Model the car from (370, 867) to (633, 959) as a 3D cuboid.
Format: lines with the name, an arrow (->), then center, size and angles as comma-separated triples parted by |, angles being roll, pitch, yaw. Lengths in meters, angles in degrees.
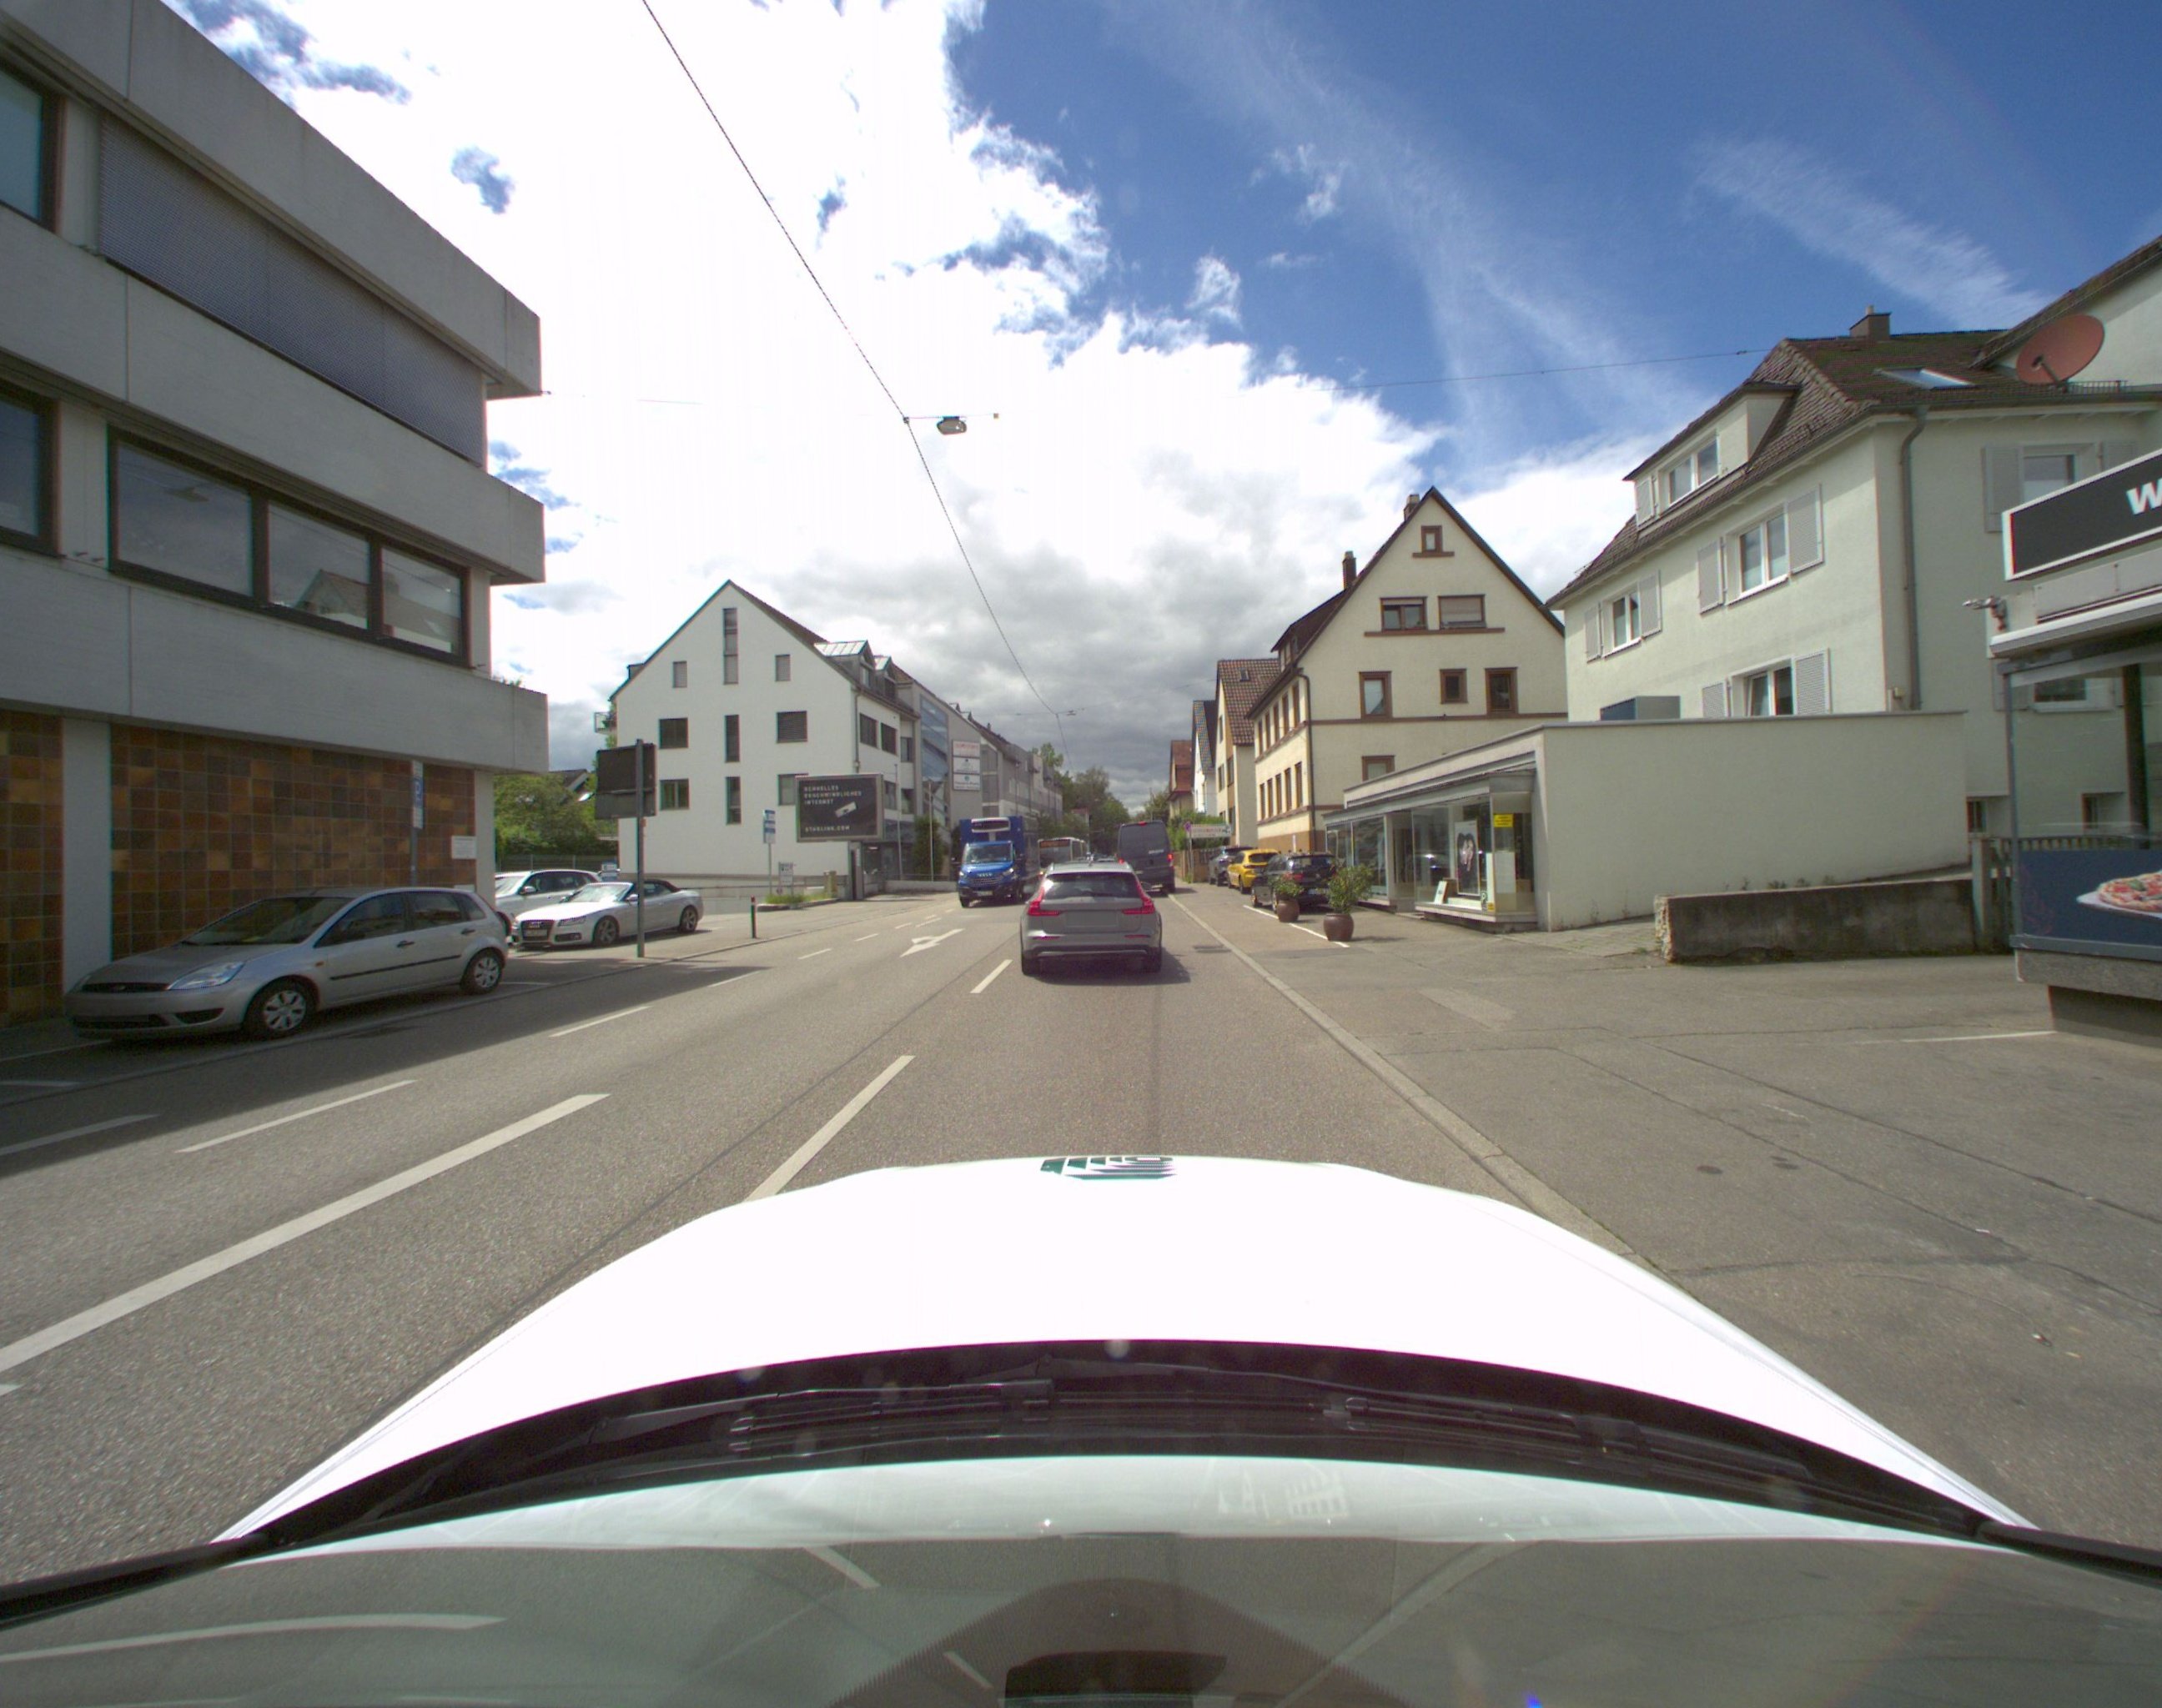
car -> -13.056, 1.238, 18.868 | 1.939, 1.619, 4.942 | -4, 0, 9

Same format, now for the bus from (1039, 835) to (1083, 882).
bus -> -1.392, 0.331, 61.817 | 2.672, 3.163, 10.188 | -2, 0, 2

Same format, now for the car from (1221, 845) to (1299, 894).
car -> 6.304, 0.496, 29.166 | 1.870, 1.447, 4.308 | -2, 2, 1

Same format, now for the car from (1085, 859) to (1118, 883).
car -> 1.329, 1.034, 51.330 | 1.888, 1.446, 3.973 | -1, 0, 4

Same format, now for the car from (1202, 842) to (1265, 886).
car -> 6.281, 0.396, 33.962 | 1.853, 1.612, 4.588 | -3, 0, 2

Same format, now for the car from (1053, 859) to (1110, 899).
car -> 0.088, 0.927, 31.788 | 1.888, 1.446, 3.973 | -1, 0, 4

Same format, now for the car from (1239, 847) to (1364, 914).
car -> 5.426, 0.605, 20.676 | 1.961, 1.447, 4.536 | -2, 0, 1

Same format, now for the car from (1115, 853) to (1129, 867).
car -> 5.888, 0.822, 116.623 | 1.984, 2.013, 4.005 | -1, 0, 4

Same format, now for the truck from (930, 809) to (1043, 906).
truck -> -3.312, 0.146, 30.967 | 2.842, 3.093, 8.095 | -2, 0, 3

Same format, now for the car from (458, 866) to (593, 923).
car -> -22.052, 1.541, 32.615 | 1.828, 1.989, 4.656 | -2, 0, 6

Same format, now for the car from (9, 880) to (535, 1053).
car -> -8.684, 1.078, 9.392 | 1.714, 1.422, 4.154 | -1, 0, 5

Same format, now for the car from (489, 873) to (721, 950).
car -> -10.467, 1.197, 18.467 | 1.941, 1.358, 4.864 | -2, 0, 7

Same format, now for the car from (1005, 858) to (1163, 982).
car -> 0.193, 0.809, 11.794 | 1.888, 1.453, 3.973 | -1, 0, 4

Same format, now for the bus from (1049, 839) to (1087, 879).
bus -> -1.028, 0.443, 70.971 | 2.705, 3.163, 8.074 | -2, 0, 3

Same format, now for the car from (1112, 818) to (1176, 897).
car -> 2.518, 0.133, 32.403 | 2.242, 2.795, 5.576 | -2, 0, 4

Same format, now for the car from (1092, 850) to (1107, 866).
car -> 2.738, 0.620, 119.107 | 2.097, 2.121, 4.768 | -4, 0, 2

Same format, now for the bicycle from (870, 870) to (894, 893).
bicycle -> -10.440, 1.425, 42.794 | 0.627, 1.095, 2.005 | -2, 0, 4
